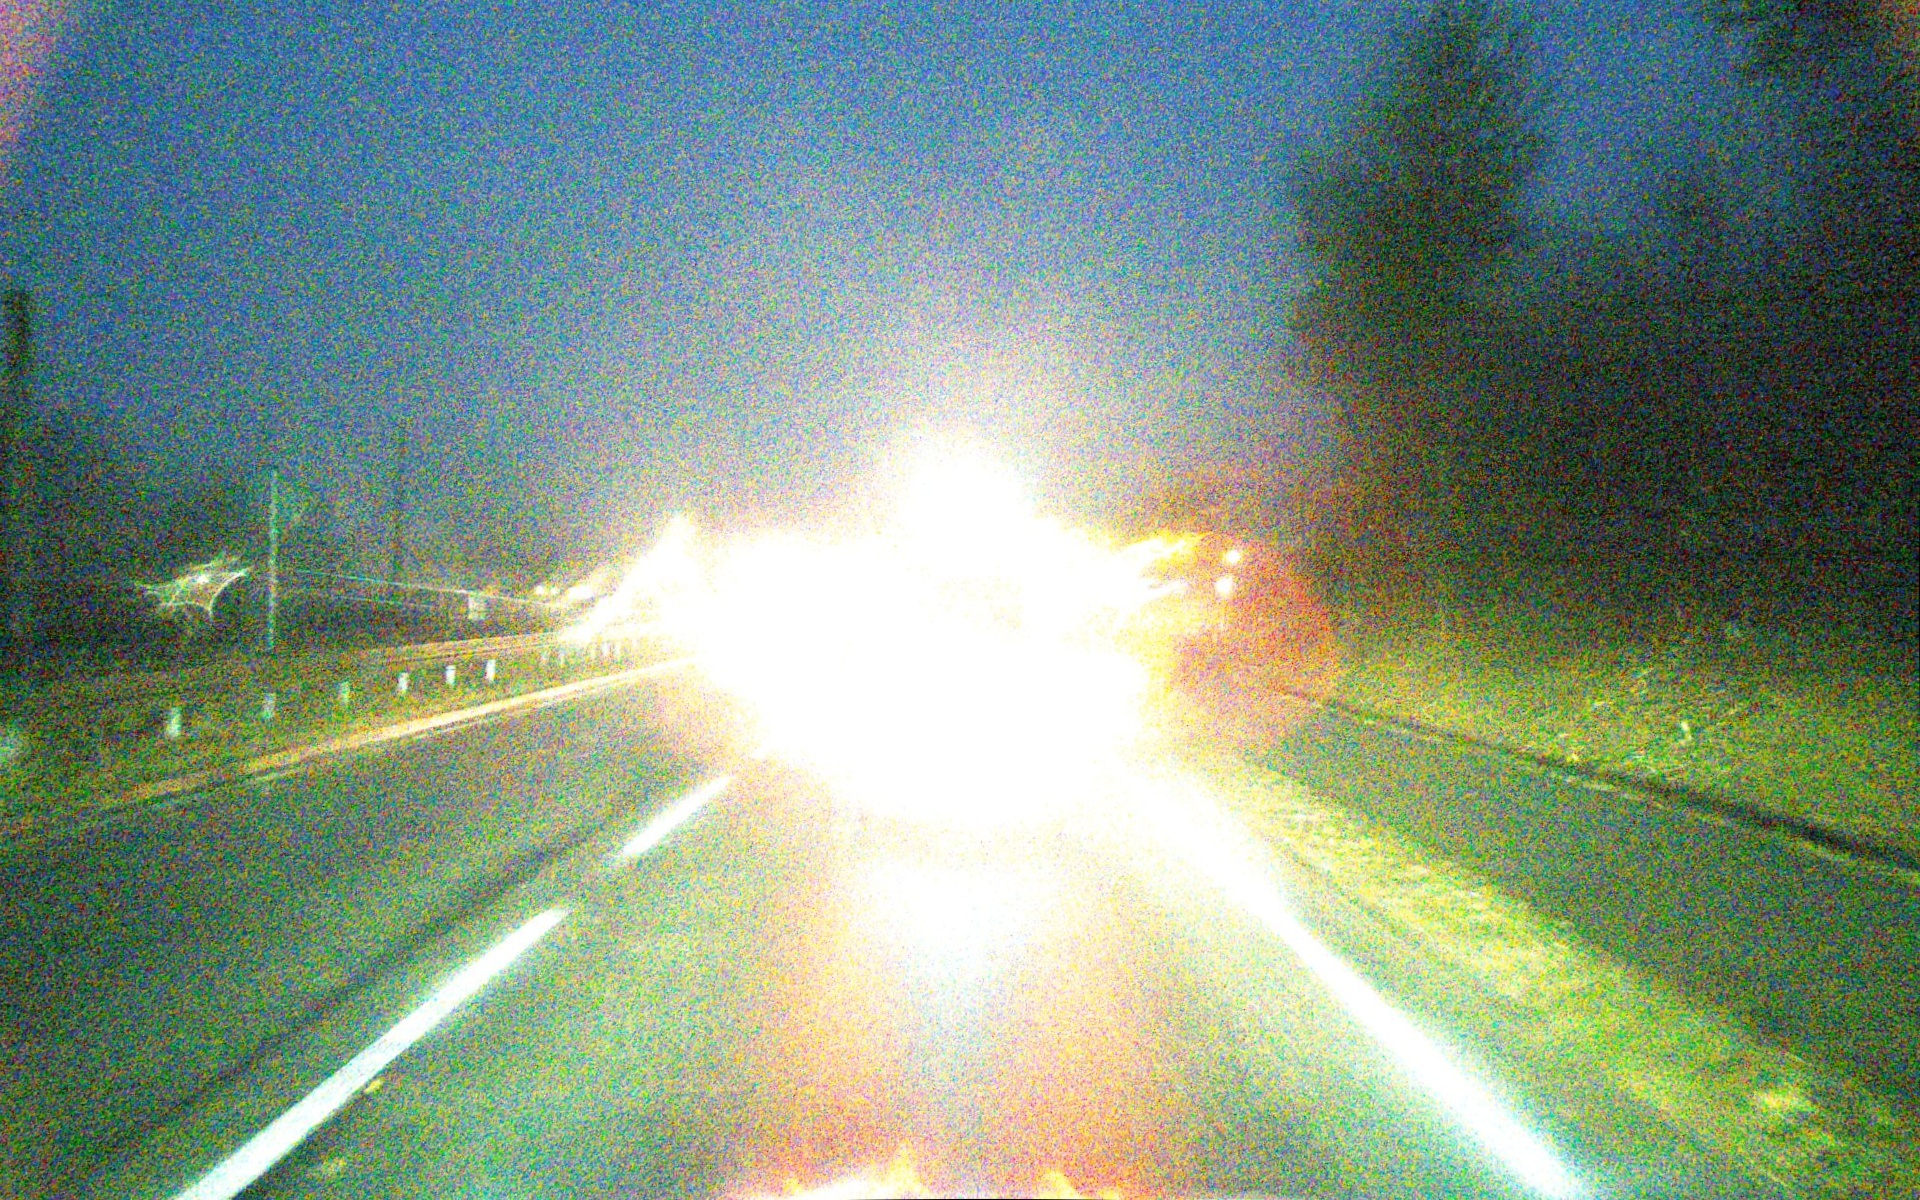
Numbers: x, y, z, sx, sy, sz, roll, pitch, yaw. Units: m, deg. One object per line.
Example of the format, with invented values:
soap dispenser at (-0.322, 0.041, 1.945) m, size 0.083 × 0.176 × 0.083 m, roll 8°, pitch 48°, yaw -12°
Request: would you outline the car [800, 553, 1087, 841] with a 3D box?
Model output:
car at (-0.106, 0.607, 12.111) m, size 1.739 × 1.742 × 3.999 m, roll 1°, pitch 0°, yaw 0°
